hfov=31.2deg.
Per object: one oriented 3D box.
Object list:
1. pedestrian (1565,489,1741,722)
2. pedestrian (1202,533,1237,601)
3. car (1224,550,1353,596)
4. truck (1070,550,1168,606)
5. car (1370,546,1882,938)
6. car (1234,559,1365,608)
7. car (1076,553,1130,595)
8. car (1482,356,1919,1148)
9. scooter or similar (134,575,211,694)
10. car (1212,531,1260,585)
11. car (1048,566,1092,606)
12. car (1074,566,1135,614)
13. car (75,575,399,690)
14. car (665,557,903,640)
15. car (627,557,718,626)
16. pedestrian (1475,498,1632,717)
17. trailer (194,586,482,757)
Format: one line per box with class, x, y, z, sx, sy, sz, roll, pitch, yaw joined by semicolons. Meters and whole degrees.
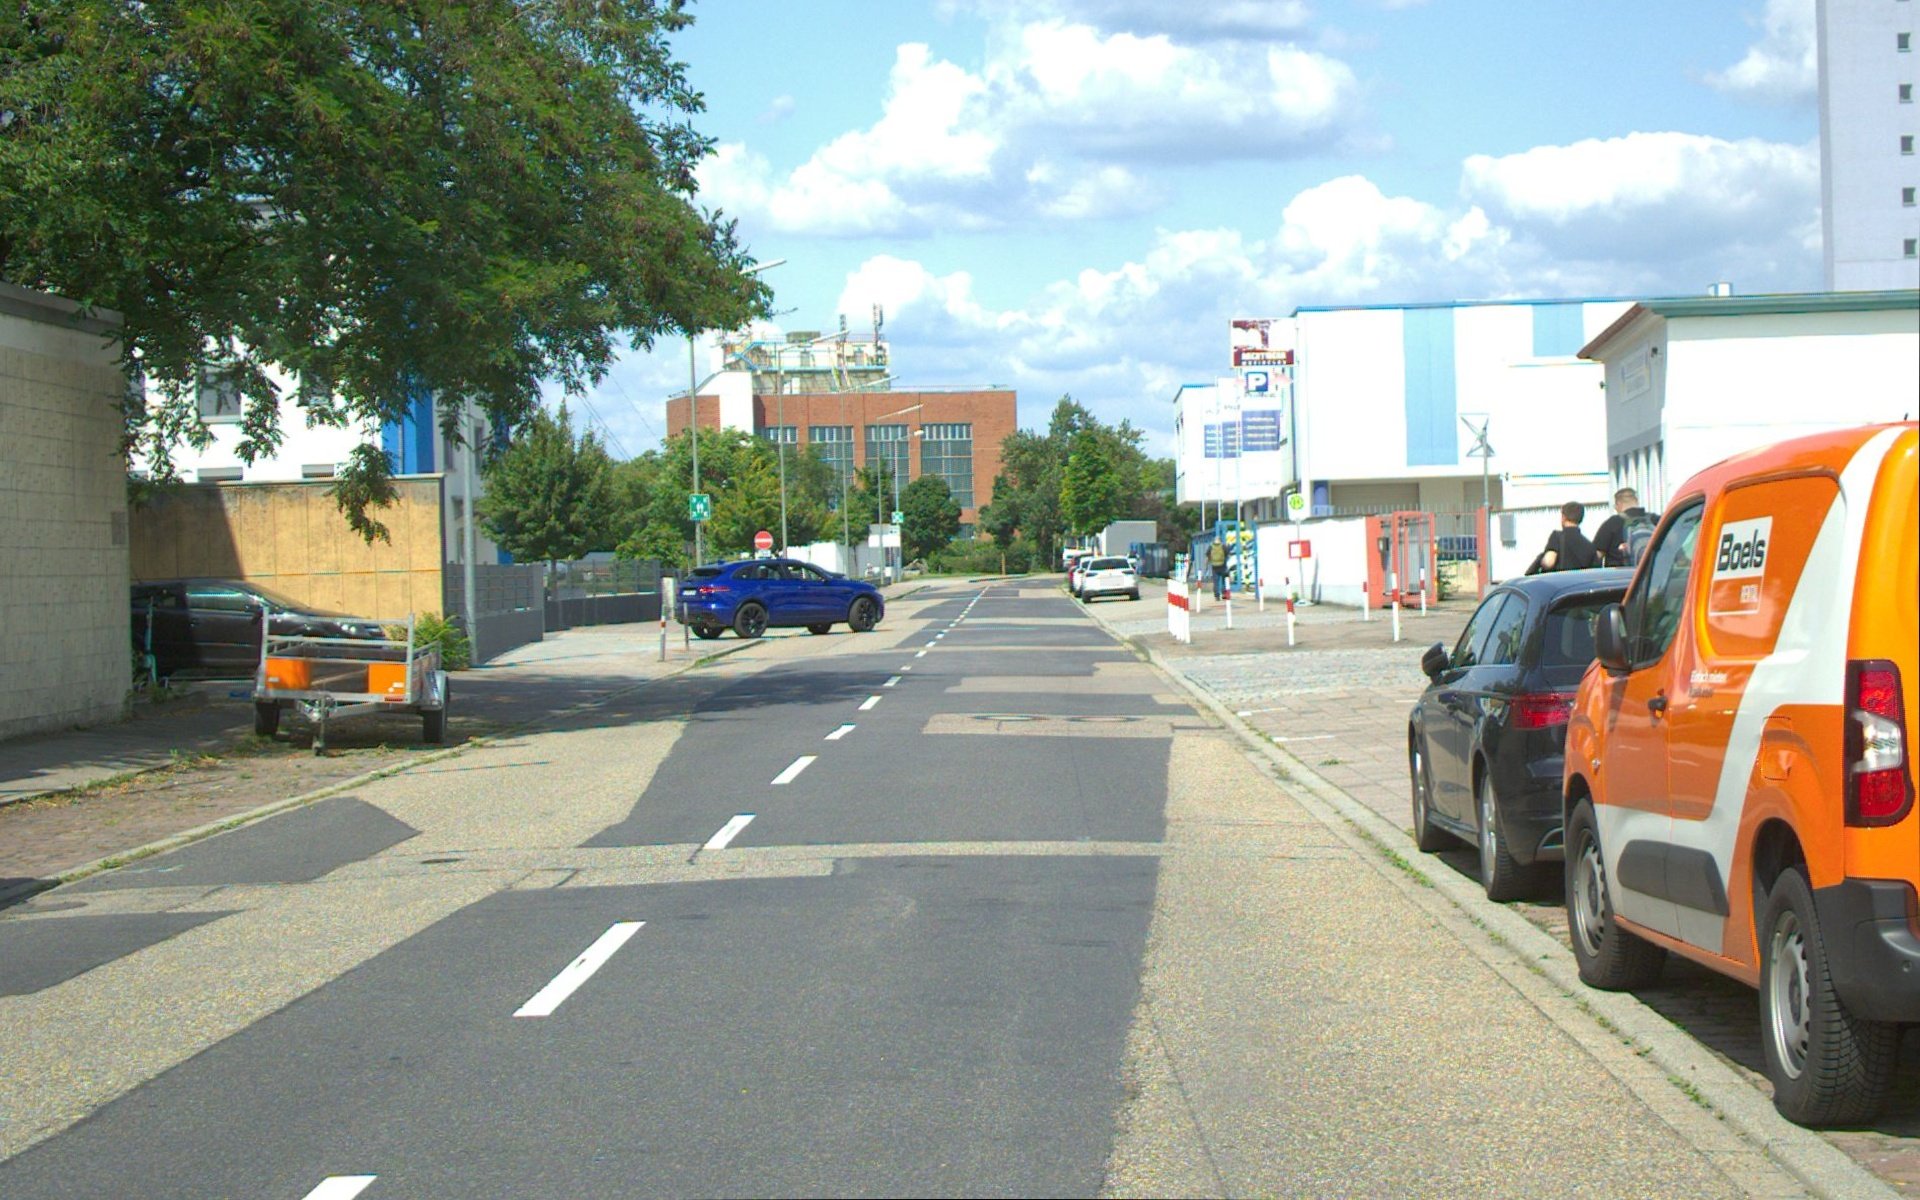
pedestrian;5.969;0.044;29.655;0.989;1.945;1.091;-2;0;-21
pedestrian;6.918;-0.874;91.683;0.769;1.750;0.787;-3;0;1
car;11.407;-0.947;119.549;4.279;1.415;2.000;-2;1;2
truck;10.816;-1.520;232.619;2.325;3.555;9.351;1;2;32
car;2.948;0.567;16.034;1.659;1.552;4.178;1;0;2
car;10.795;-0.529;109.572;3.987;1.415;2.000;-2;1;2
car;5.229;-0.945;126.174;1.835;1.515;4.461;-1;0;1
car;2.938;0.393;10.482;1.872;1.886;4.453;3;0;-1
scooter or similar;-8.656;0.371;37.808;0.482;1.275;1.360;1;0;1
car;13.037;-1.961;162.512;1.924;2.455;5.259;-1;0;1
car;4.660;-0.591;144.968;1.755;1.645;4.677;-1;0;3
car;4.739;-0.333;113.378;1.867;1.515;4.598;-1;0;1
car;-9.977;0.435;47.612;3.994;1.357;1.794;3;0;5
car;-3.762;-0.037;73.658;4.686;1.588;1.916;-3;1;-29
car;-7.322;-0.224;87.866;1.867;1.702;4.753;0;0;1
pedestrian;5.046;0.060;29.259;0.856;1.801;1.006;-2;0;-21
trailer;-5.653;0.608;31.753;1.767;1.434;4.336;1;0;1
